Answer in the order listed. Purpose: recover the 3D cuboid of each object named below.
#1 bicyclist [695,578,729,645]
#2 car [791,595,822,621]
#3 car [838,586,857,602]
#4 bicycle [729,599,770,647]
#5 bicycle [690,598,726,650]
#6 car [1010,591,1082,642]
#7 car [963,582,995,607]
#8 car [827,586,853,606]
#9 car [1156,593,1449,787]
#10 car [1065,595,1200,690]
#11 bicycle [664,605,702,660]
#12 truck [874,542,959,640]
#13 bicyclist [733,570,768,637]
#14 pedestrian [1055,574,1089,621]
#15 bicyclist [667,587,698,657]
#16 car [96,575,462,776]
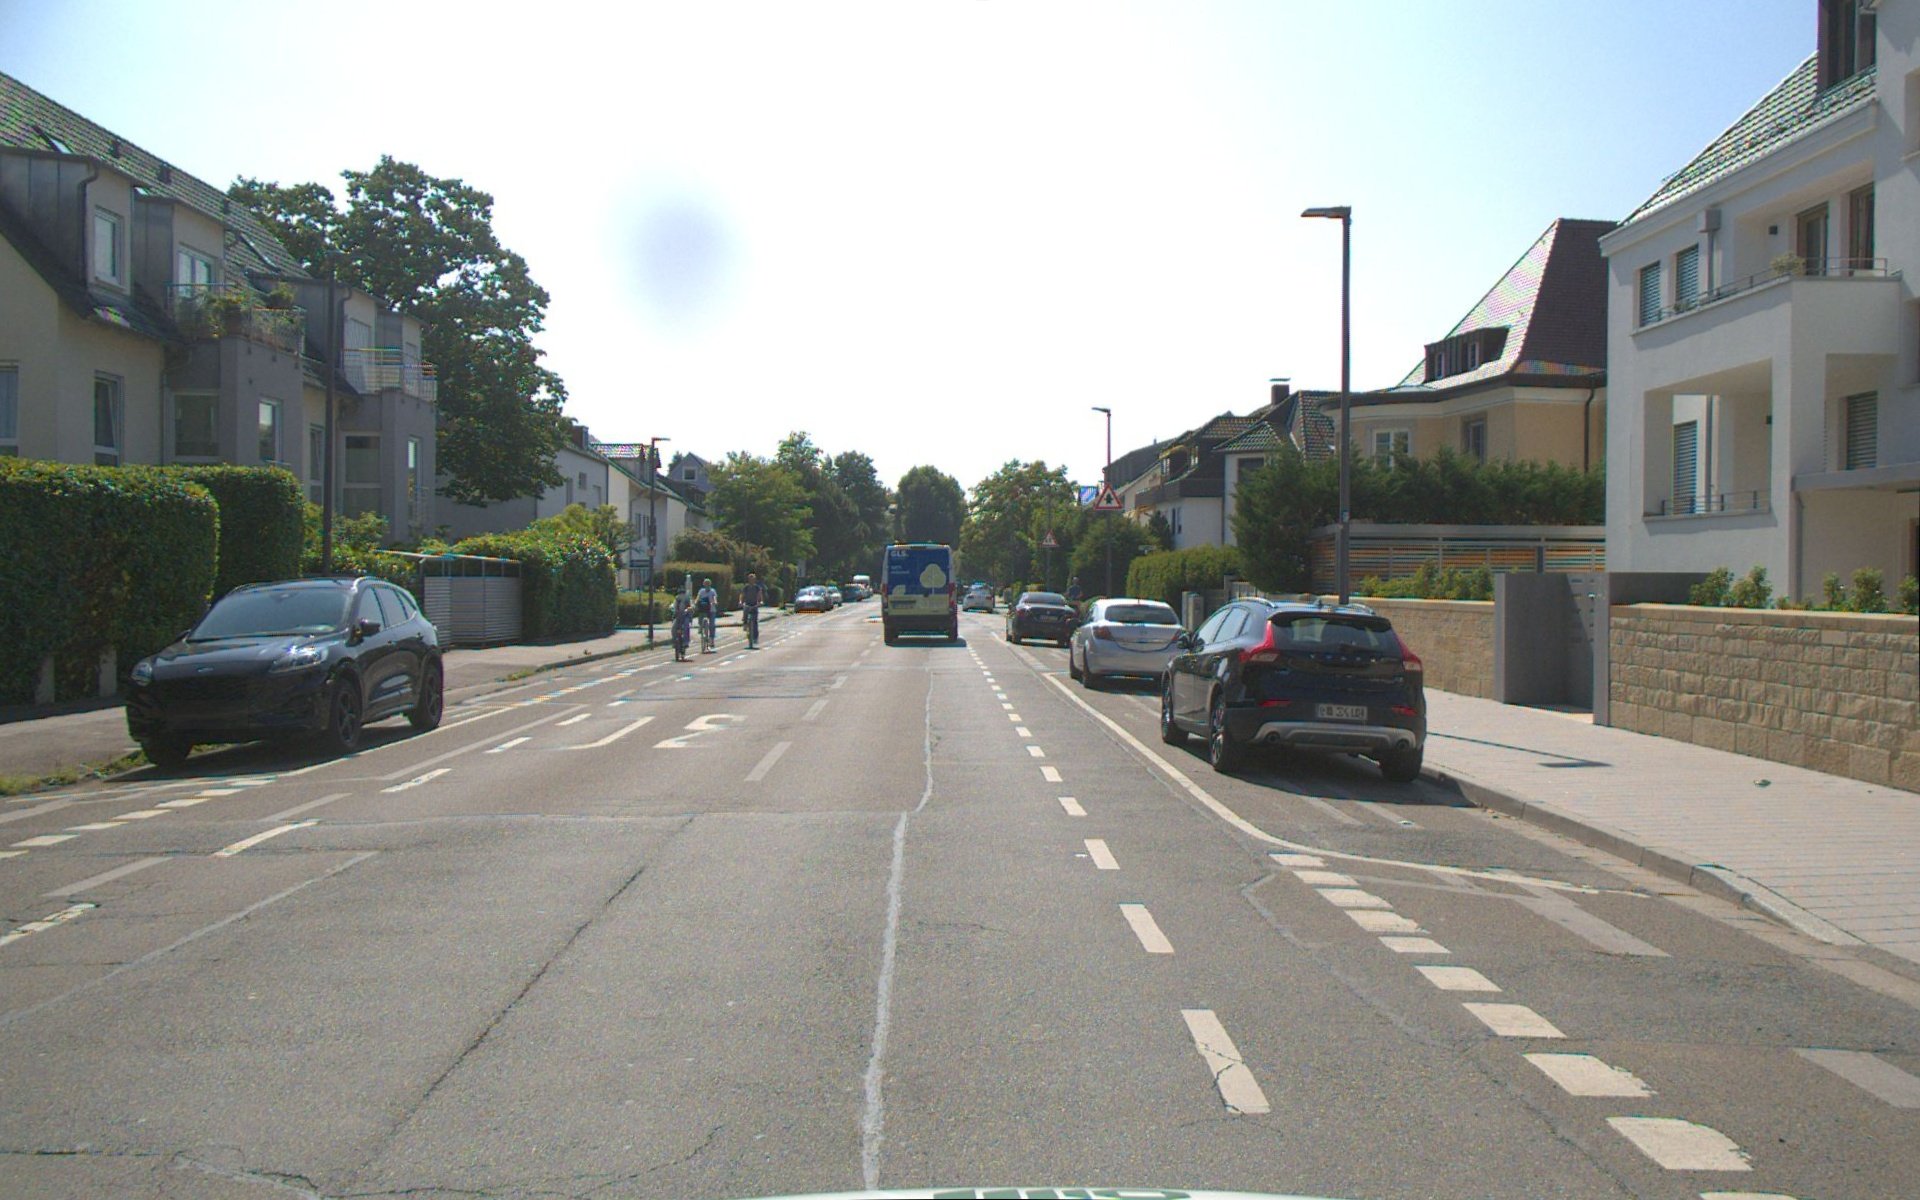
[{"bbox_3d":[-6.076,0.283,40.551,0.662,1.608,0.859,-2,0,-1],"label":"bicyclist"},{"bbox_3d":[-9.063,0.459,97.788,1.750,1.465,4.151,-1,1,-4],"label":"car"},{"bbox_3d":[-10.572,-0.608,155.495,1.745,1.485,4.084,0,0,-3],"label":"car"},{"bbox_3d":[-5.486,0.588,43.190,0.767,1.186,2.419,-2,0,-1],"label":"bicycle"},{"bbox_3d":[-6.152,0.579,40.419,0.548,1.206,2.035,-2,0,-1],"label":"bicycle"},{"bbox_3d":[2.361,0.427,46.368,1.701,1.352,4.259,0,0,-1],"label":"car"},{"bbox_3d":[1.128,-0.348,101.452,1.705,1.426,4.072,2,1,-3],"label":"car"},{"bbox_3d":[-8.772,-0.314,121.202,1.749,1.465,3.999,0,0,-2],"label":"car"},{"bbox_3d":[3.008,0.720,15.391,1.687,1.474,4.167,3,0,-2],"label":"car"},{"bbox_3d":[2.764,0.665,27.276,1.701,1.352,4.075,3,-1,-1],"label":"car"},{"bbox_3d":[-5.993,0.689,35.808,0.588,1.124,1.346,-2,0,-1],"label":"bicycle"},{"bbox_3d":[-1.164,-0.244,46.172,2.226,2.616,4.392,0,0,0],"label":"truck"},{"bbox_3d":[-5.483,0.083,43.337,0.734,1.697,1.021,-2,0,-1],"label":"bicyclist"},{"bbox_3d":[4.607,-0.117,68.107,0.891,1.905,1.175,0,0,-34],"label":"pedestrian"},{"bbox_3d":[-5.998,0.467,35.793,0.480,1.479,0.964,-2,0,-1],"label":"bicyclist"},{"bbox_3d":[-6.590,0.639,16.616,1.813,1.639,4.447,-3,0,-1],"label":"car"}]
